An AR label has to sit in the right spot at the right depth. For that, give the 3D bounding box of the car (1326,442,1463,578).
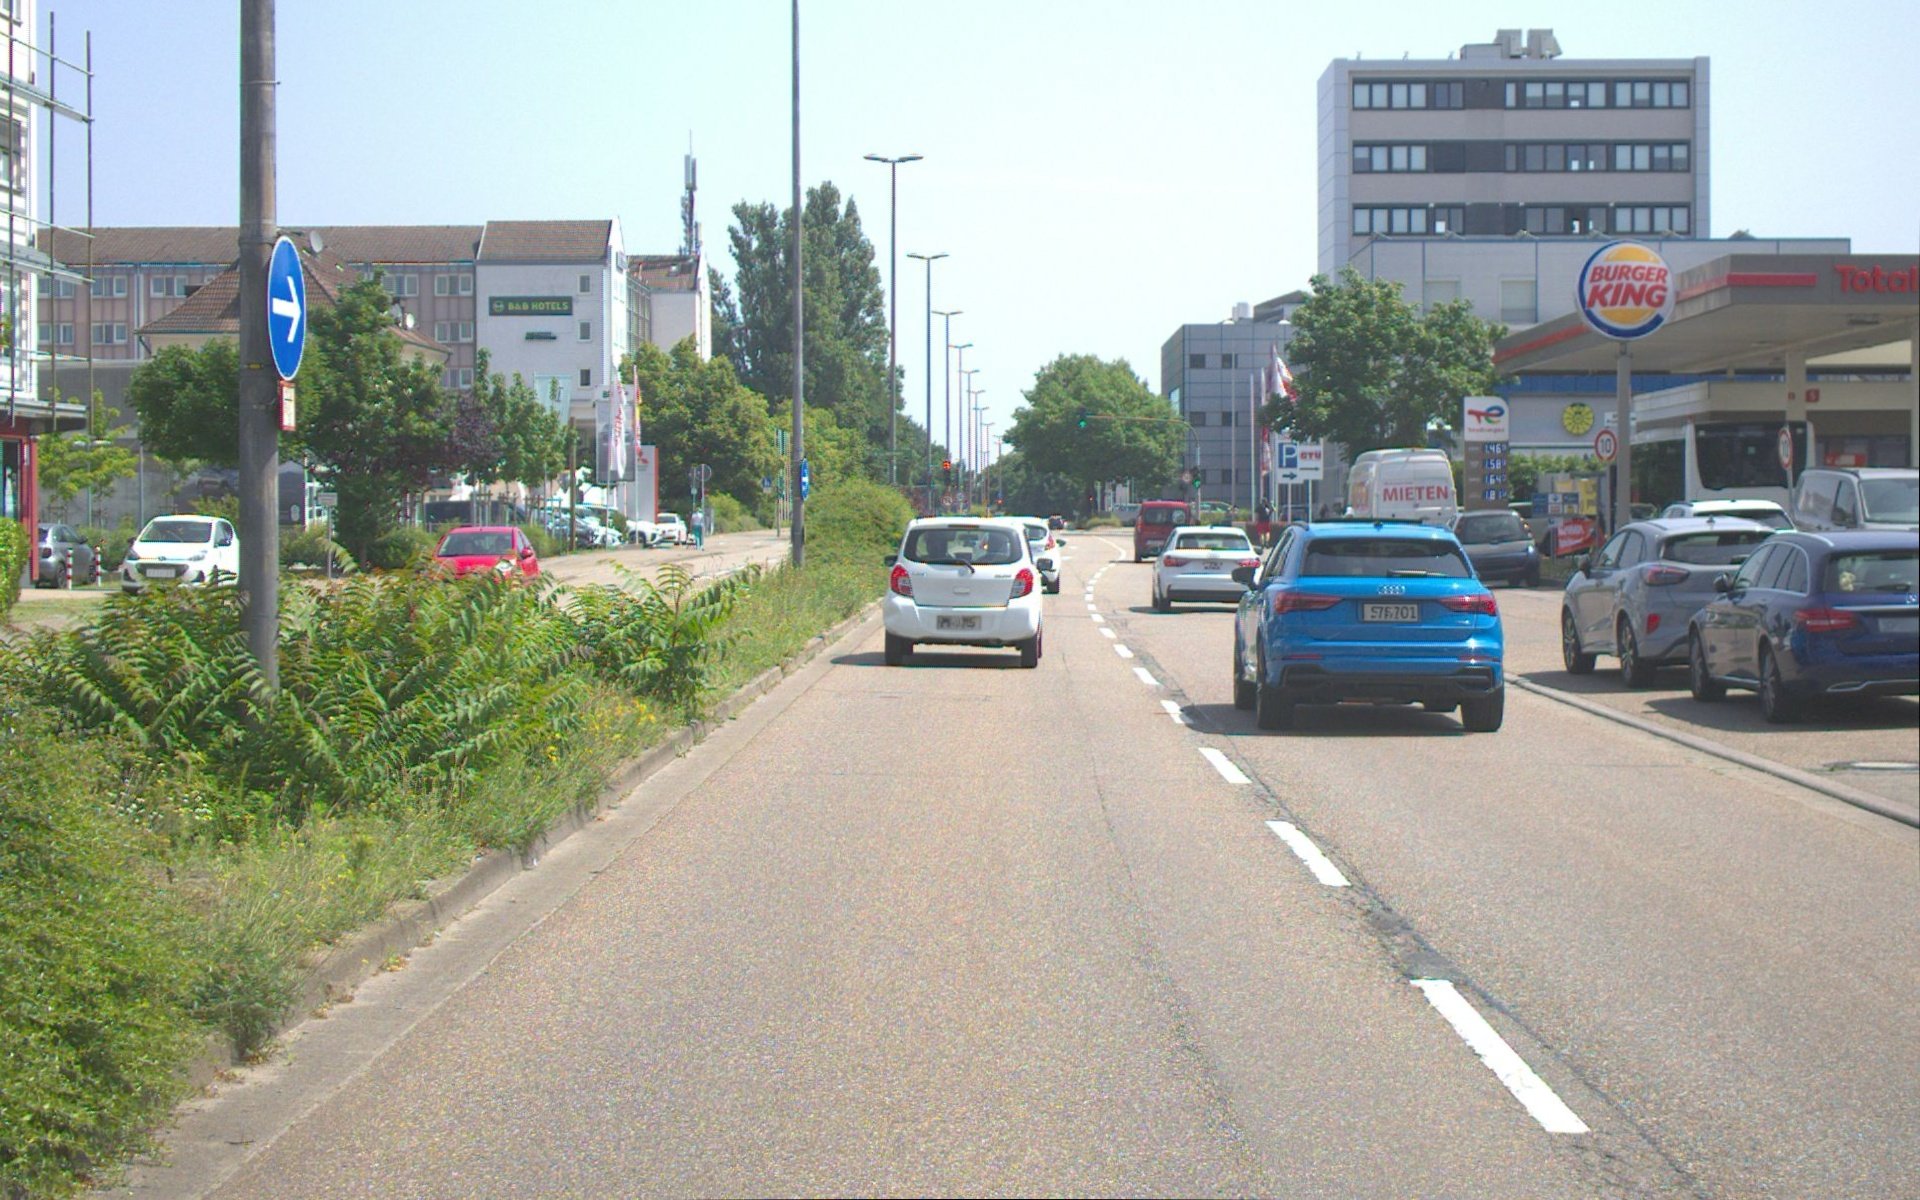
[{"bbox_3d":[9.798,-2.036,78.109,2.133,2.830,7.309,-4,1,1],"label":"car"}]

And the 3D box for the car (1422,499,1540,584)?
[{"bbox_3d":[9.757,-1.111,64.602,1.657,1.514,3.820,-1,1,1],"label":"car"}]

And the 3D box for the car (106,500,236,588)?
[{"bbox_3d":[-14.764,-1.024,64.184,1.678,1.489,4.043,2,-1,-22],"label":"car"}]

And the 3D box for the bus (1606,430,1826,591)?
[{"bbox_3d":[15.789,-1.975,72.736,2.805,3.068,12.284,1,2,4],"label":"bus"}]

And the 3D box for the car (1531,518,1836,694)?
[{"bbox_3d":[6.830,0.004,32.887,1.732,1.547,4.181,1,1,-4],"label":"car"}]

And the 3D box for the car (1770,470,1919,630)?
[{"bbox_3d":[12.523,-0.660,46.220,1.993,2.016,5.161,2,1,0],"label":"car"}]

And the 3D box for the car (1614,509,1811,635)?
[{"bbox_3d":[10.078,-0.419,46.334,1.667,1.590,4.613,-1,2,1],"label":"car"}]

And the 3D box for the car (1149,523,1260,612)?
[{"bbox_3d":[4.022,-0.559,57.011,1.667,1.394,3.793,1,1,2],"label":"car"}]

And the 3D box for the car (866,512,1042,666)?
[{"bbox_3d":[-0.106,-0.150,36.388,1.712,1.505,3.247,1,2,-2],"label":"car"}]

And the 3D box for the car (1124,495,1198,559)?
[{"bbox_3d":[5.784,-2.088,99.383,1.794,1.723,3.973,2,0,-1],"label":"car"}]

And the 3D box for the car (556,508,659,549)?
[{"bbox_3d":[-14.727,-2.978,143.598,3.987,1.547,1.865,1,-1,4],"label":"car"}]

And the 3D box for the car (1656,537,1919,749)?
[{"bbox_3d":[6.970,0.283,27.512,1.713,1.543,4.791,0,1,-1],"label":"car"}]

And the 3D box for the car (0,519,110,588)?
[{"bbox_3d":[-21.329,-1.072,80.505,1.769,1.541,4.000,0,0,2],"label":"car"}]

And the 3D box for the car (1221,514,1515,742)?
[{"bbox_3d":[3.124,0.149,27.164,1.913,1.591,4.395,1,2,2],"label":"car"}]

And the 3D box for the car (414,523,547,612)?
[{"bbox_3d":[-8.062,-0.552,58.072,1.631,1.419,3.450,-2,1,2],"label":"car"}]

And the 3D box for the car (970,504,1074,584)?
[{"bbox_3d":[1.186,-1.068,67.210,1.830,1.445,4.000,1,0,-1],"label":"car"}]
